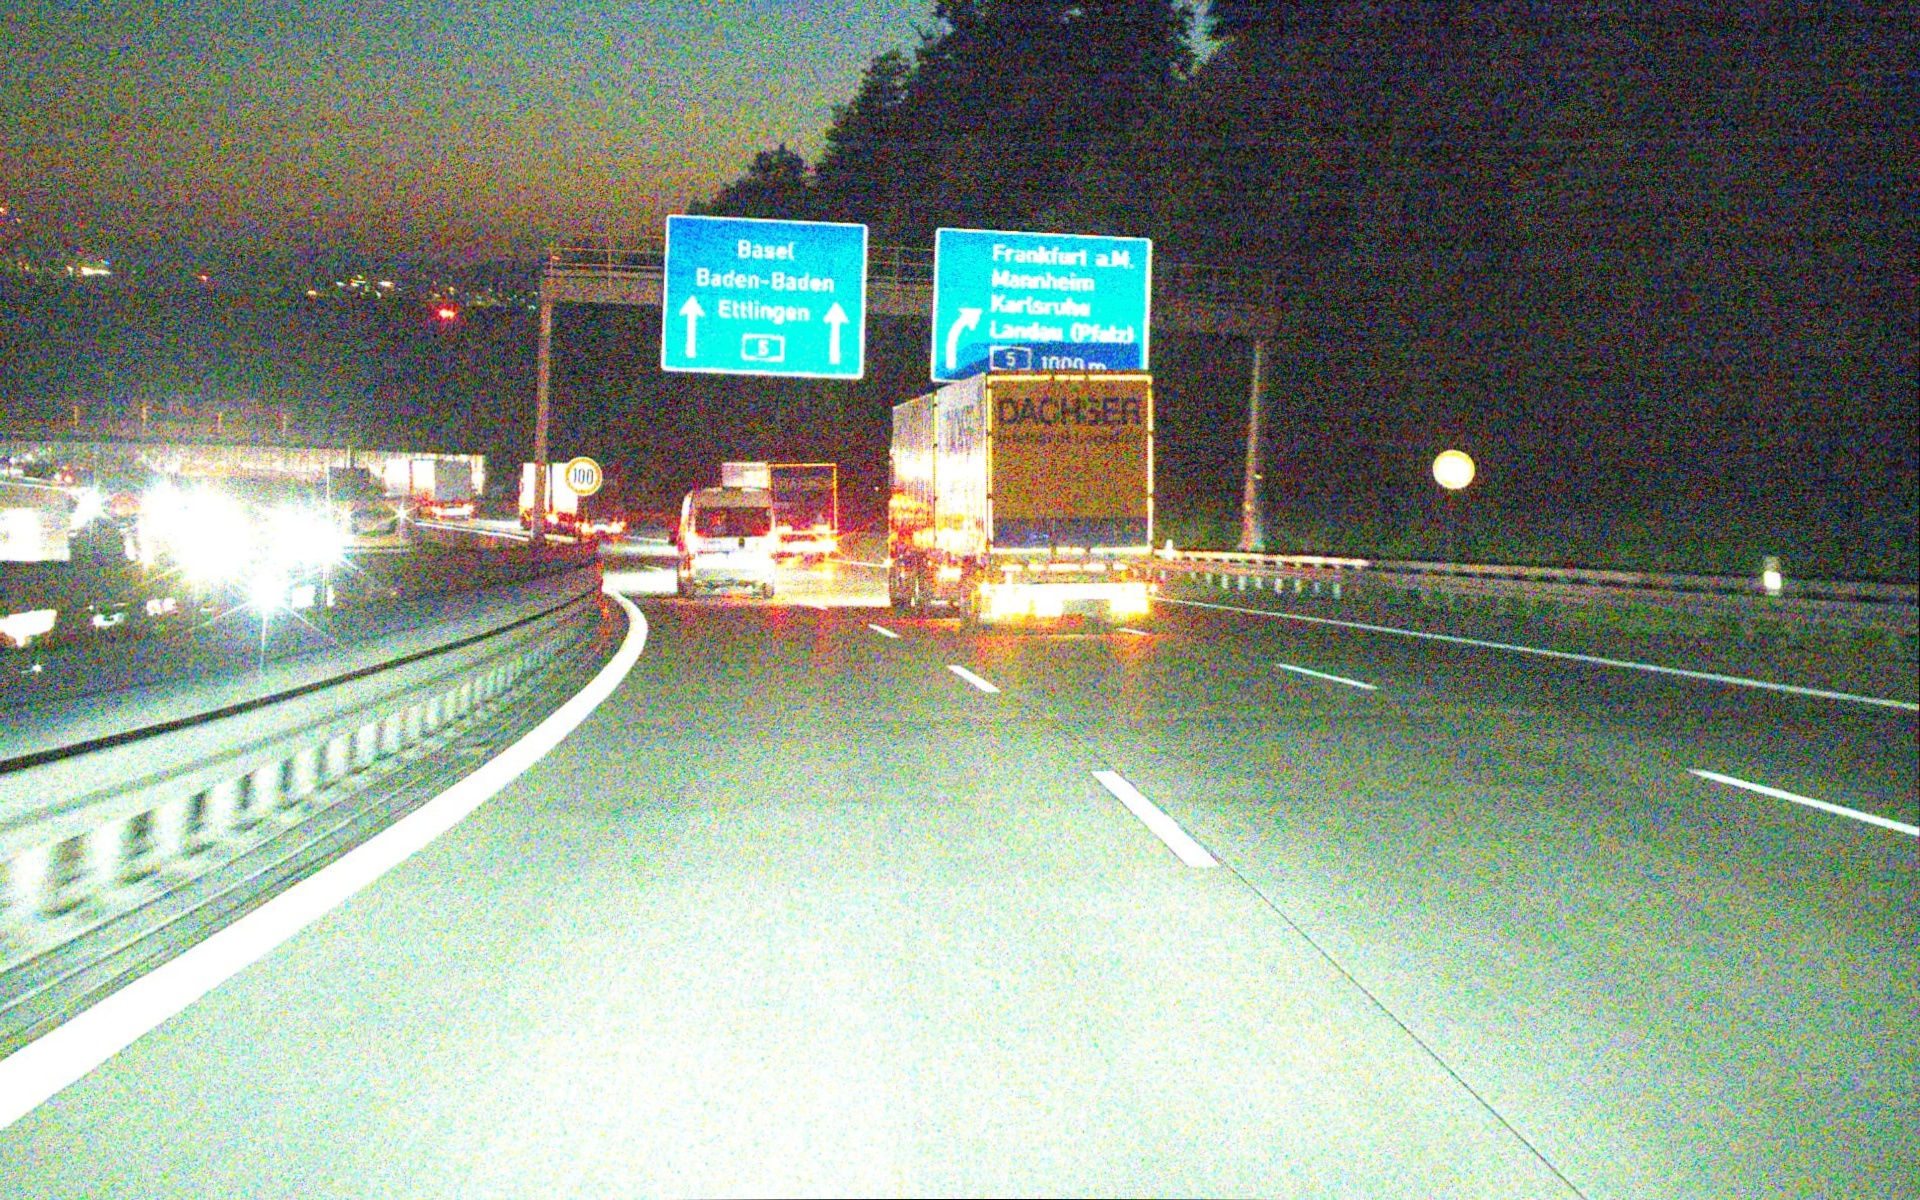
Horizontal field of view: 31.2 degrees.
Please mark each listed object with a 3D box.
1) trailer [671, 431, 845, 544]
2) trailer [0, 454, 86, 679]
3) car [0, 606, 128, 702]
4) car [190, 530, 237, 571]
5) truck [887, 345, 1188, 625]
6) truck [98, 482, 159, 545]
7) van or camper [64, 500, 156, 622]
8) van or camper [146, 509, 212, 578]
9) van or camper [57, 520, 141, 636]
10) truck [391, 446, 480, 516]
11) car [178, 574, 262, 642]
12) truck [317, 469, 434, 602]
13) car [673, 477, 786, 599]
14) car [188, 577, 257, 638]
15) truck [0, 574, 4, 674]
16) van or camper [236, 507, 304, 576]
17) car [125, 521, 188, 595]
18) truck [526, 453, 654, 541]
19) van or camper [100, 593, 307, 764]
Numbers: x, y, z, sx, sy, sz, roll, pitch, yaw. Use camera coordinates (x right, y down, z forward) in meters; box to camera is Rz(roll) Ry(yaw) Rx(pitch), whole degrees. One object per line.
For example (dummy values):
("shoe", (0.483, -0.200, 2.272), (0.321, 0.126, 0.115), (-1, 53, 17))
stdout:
("trailer", (-7.926, -4.439, 132.582), (2.853, 4.053, 13.210), (-2, 3, -21))
("trailer", (-20.126, -0.672, 68.132), (3.435, 4.226, 12.835), (-2, 2, -6))
("car", (-15.326, 0.889, 58.881), (1.600, 1.437, 4.385), (-1, 1, -7))
("car", (-37.196, -2.450, 171.237), (1.993, 1.953, 4.988), (-2, 1, -15))
("truck", (0.950, -1.874, 60.325), (3.482, 4.120, 18.712), (0, 1, -4))
("truck", (-45.141, -4.707, 186.551), (2.375, 3.248, 7.726), (-3, 2, -19))
("van or camper", (-24.597, -1.176, 99.661), (2.268, 3.367, 5.697), (-2, 2, -12))
("van or camper", (-32.118, -2.348, 141.291), (2.444, 2.751, 6.491), (-2, 2, -14))
("van or camper", (-23.133, -0.654, 92.542), (1.833, 2.961, 6.402), (-2, 2, -11))
("truck", (-36.043, -8.225, 235.804), (3.343, 4.460, 13.915), (2, 2, -20))
("car", (-17.745, 0.173, 82.602), (1.600, 1.437, 4.001), (-3, 2, -8))
("truck", (-16.366, -1.810, 96.697), (2.654, 3.578, 8.552), (0, 1, -6))
("car", (-5.337, -1.424, 79.111), (2.337, 2.631, 5.249), (2, 1, -6))
("car", (-18.334, 0.210, 85.601), (1.605, 1.474, 4.075), (0, -1, -11))
("truck", (-19.480, -0.596, 61.540), (3.417, 4.208, 6.284), (-2, 1, -6))
("van or camper", (-28.805, -2.463, 143.391), (2.444, 2.751, 6.491), (-2, 2, -14))
("car", (-26.916, -1.448, 115.295), (1.833, 2.362, 5.449), (-2, 2, -11))
("truck", (-21.331, -6.033, 196.725), (3.914, 4.611, 21.027), (-2, 3, -15))
("van or camper", (-9.963, 0.984, 45.607), (2.030, 2.007, 4.577), (-1, 1, -4))
